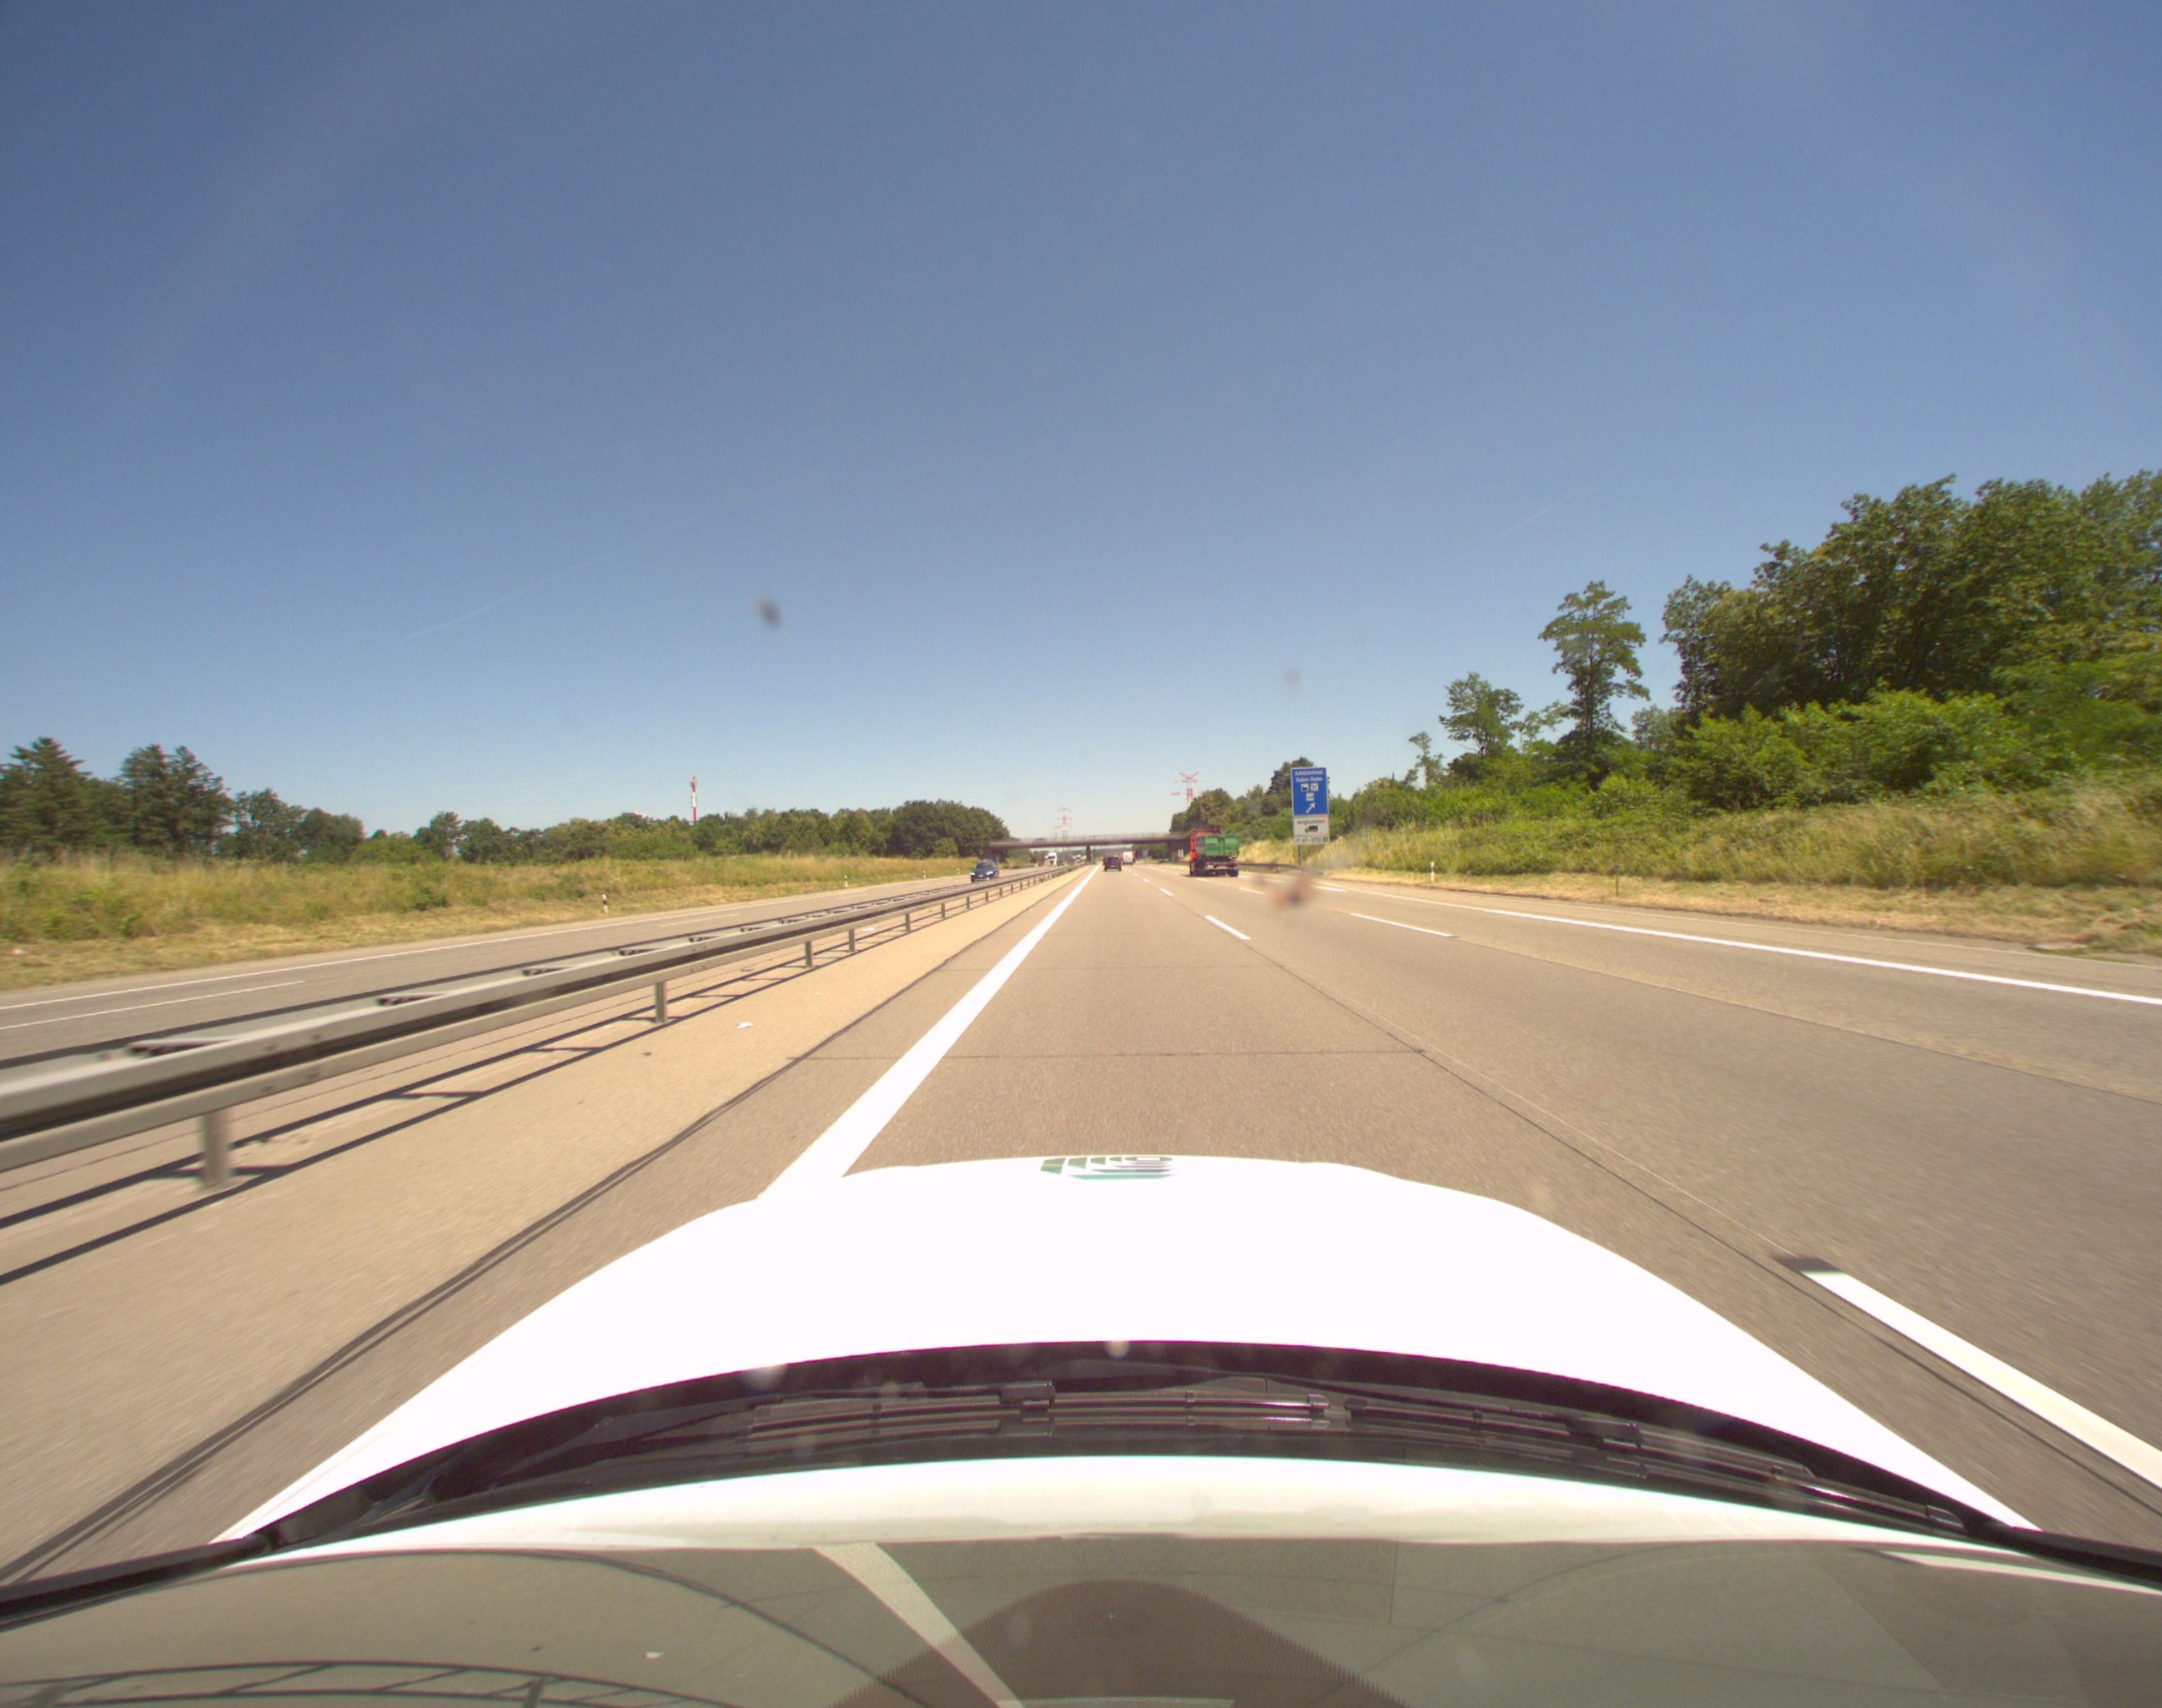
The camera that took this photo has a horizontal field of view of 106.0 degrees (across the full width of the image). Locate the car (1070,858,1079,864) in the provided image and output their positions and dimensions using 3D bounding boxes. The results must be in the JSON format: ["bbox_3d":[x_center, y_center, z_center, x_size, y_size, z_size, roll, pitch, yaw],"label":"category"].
[{"bbox_3d":[-1.677,2.007,227.274,2.220,1.424,5.301,-4,0,1],"label":"car"}]

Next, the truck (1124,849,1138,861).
[{"bbox_3d":[16.244,0.332,264.561,4.314,3.941,16.086,-1,0,2],"label":"truck"}]

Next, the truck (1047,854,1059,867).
[{"bbox_3d":[-8.859,2.125,259.507,2.938,3.960,6.955,-4,0,2],"label":"truck"}]

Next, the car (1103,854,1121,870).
[{"bbox_3d":[3.561,0.944,94.212,1.986,1.750,4.001,-1,0,2],"label":"car"}]

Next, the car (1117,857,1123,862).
[{"bbox_3d":[12.159,1.720,255.320,1.740,1.634,4.005,-1,0,2],"label":"car"}]

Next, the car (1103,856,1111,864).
[{"bbox_3d":[5.825,1.247,182.533,1.787,1.750,4.001,-1,0,2],"label":"car"}]

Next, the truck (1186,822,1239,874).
[{"bbox_3d":[10.383,-0.416,65.456,2.670,3.798,12.483,-1,0,2],"label":"truck"}]

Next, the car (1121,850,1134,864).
[{"bbox_3d":[9.435,0.654,165.388,2.611,2.759,6.099,-1,0,2],"label":"car"}]

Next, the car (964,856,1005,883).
[{"bbox_3d":[-7.643,1.220,65.106,2.355,1.894,5.226,-4,0,1],"label":"car"}]
